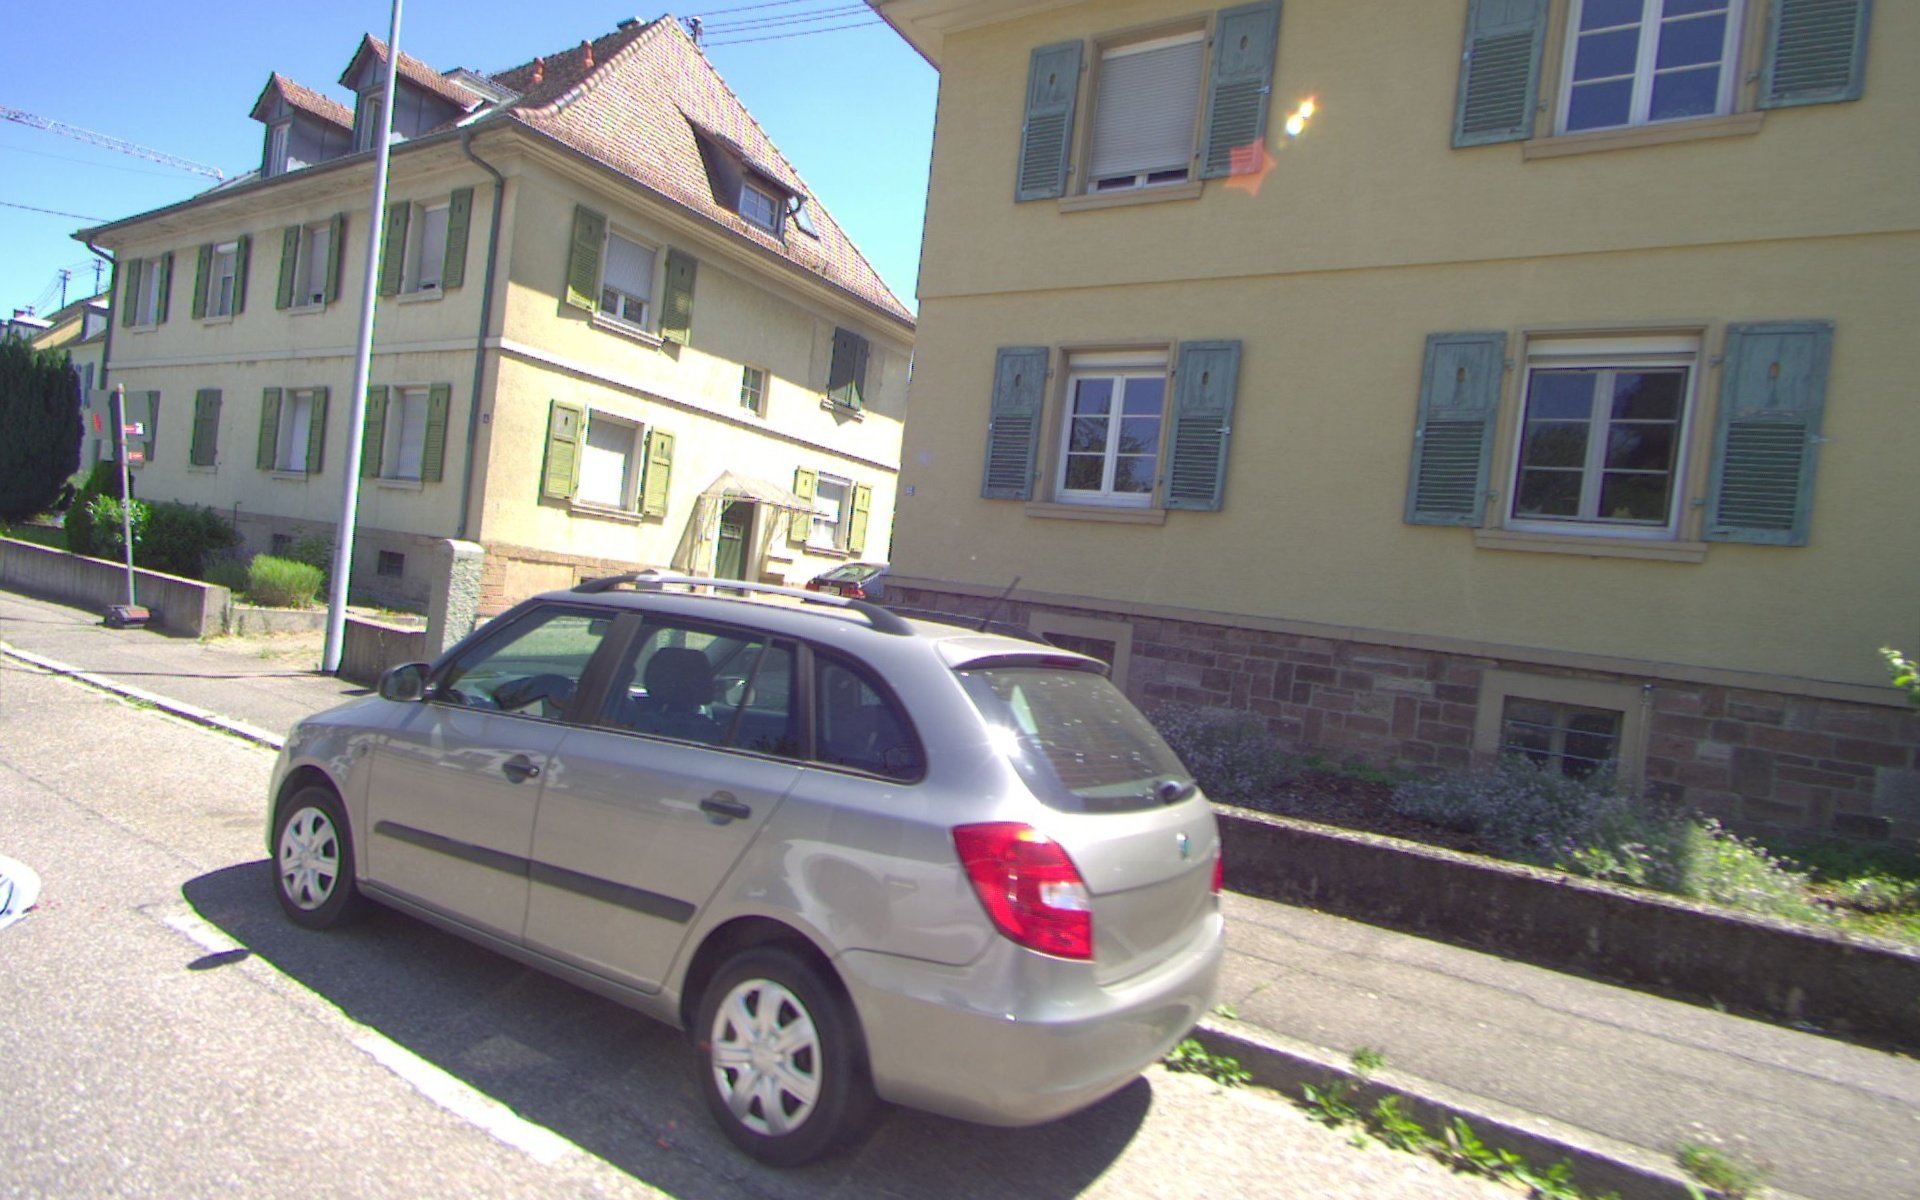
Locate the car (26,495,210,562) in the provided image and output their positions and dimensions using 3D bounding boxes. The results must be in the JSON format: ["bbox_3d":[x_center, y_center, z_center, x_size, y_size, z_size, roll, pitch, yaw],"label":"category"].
[{"bbox_3d":[-25.981,-2.170,31.150,1.968,1.662,3.984,6,2,34],"label":"car"}]

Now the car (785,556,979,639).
[{"bbox_3d":[-1.531,0.003,21.249,1.831,1.447,4.180,6,2,34],"label":"car"}]

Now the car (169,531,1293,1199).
[{"bbox_3d":[-1.079,0.697,3.969,4.152,1.469,1.764,6,0,31],"label":"car"}]

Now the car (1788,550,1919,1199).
[{"bbox_3d":[3.940,1.006,0.758,4.743,1.923,1.998,6,-2,32],"label":"car"}]
